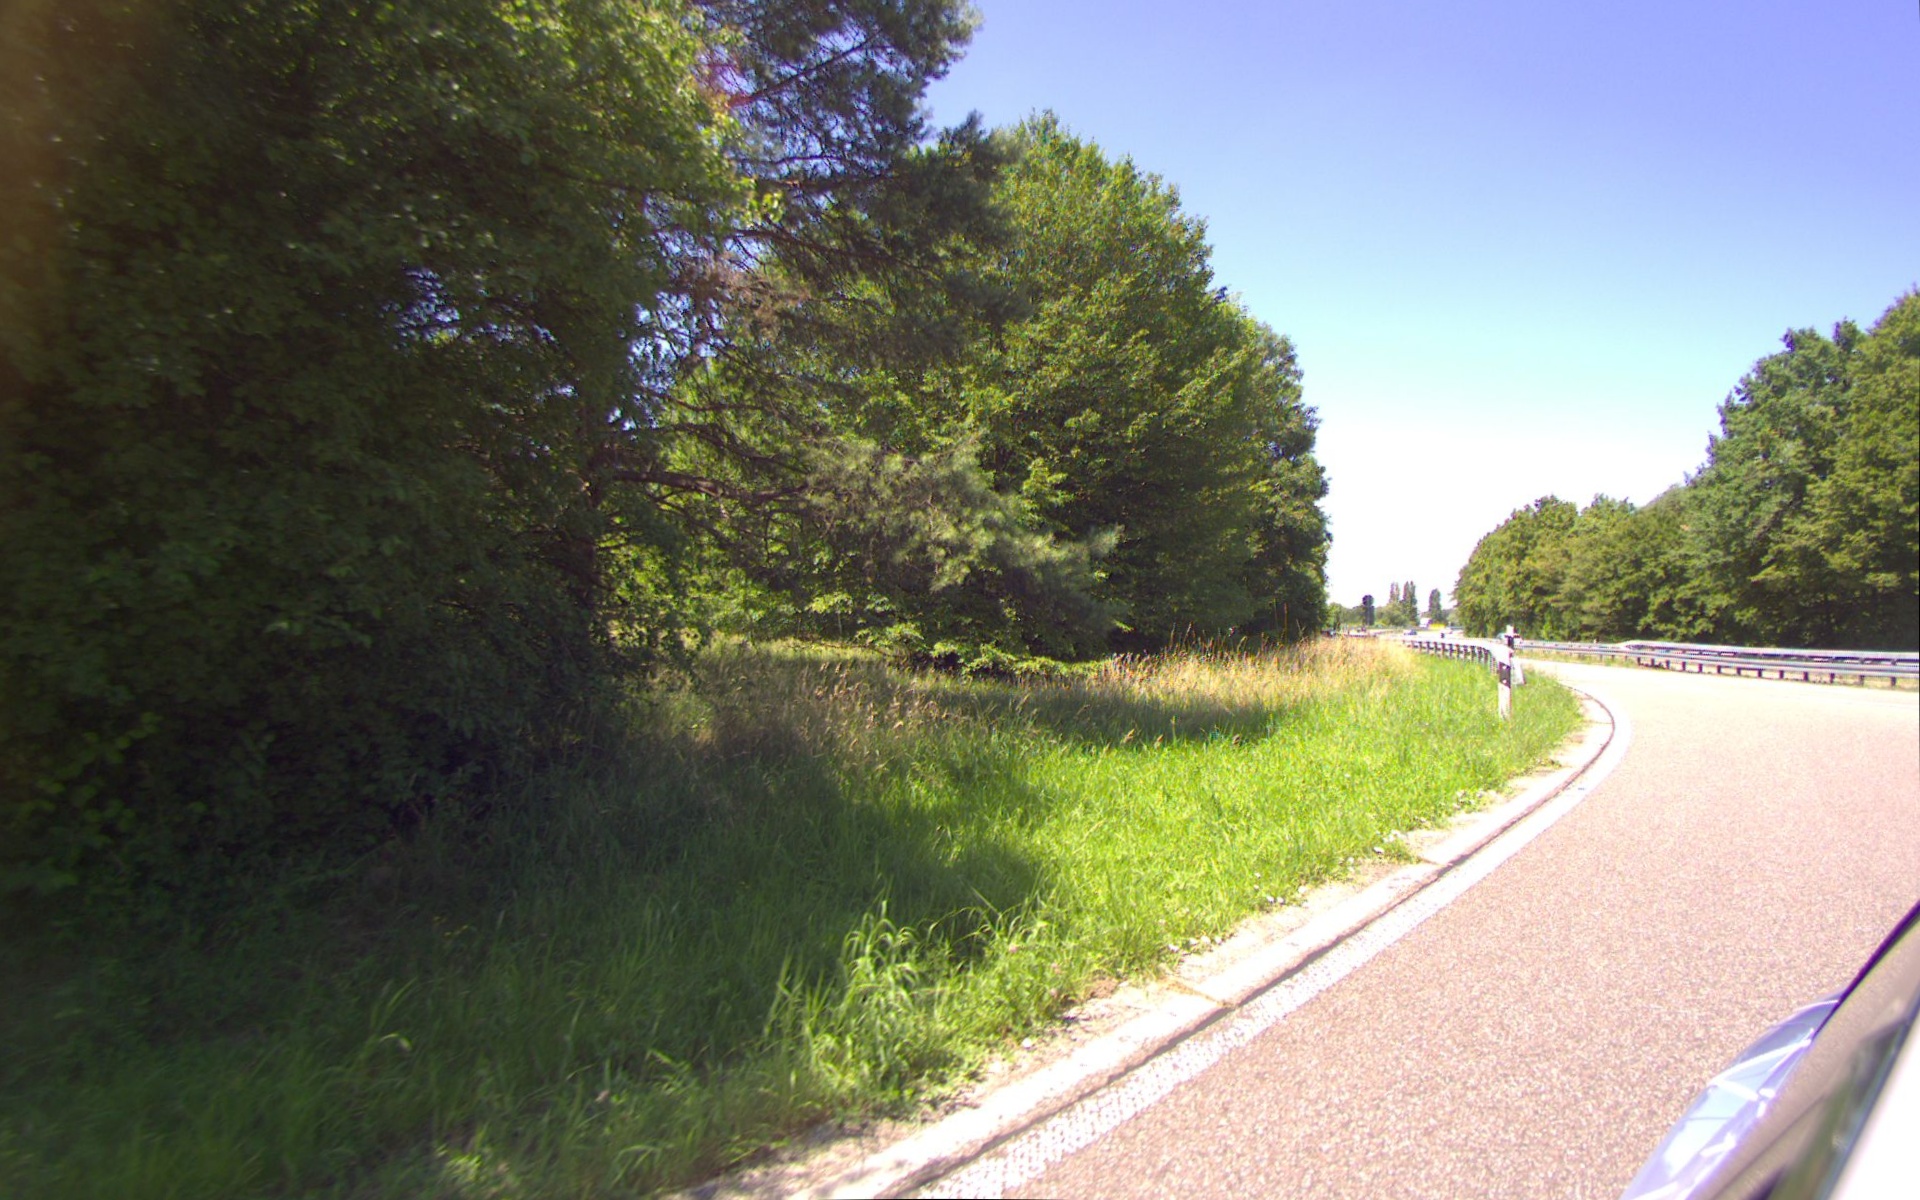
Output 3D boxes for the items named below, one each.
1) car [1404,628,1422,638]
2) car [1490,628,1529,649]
[{"bbox_3d":[73.522,5.311,164.310,1.736,1.548,4.661,3,-1,15],"label":"car"},{"bbox_3d":[47.241,3.294,87.030,1.735,1.593,4.396,3,-1,12],"label":"car"}]
